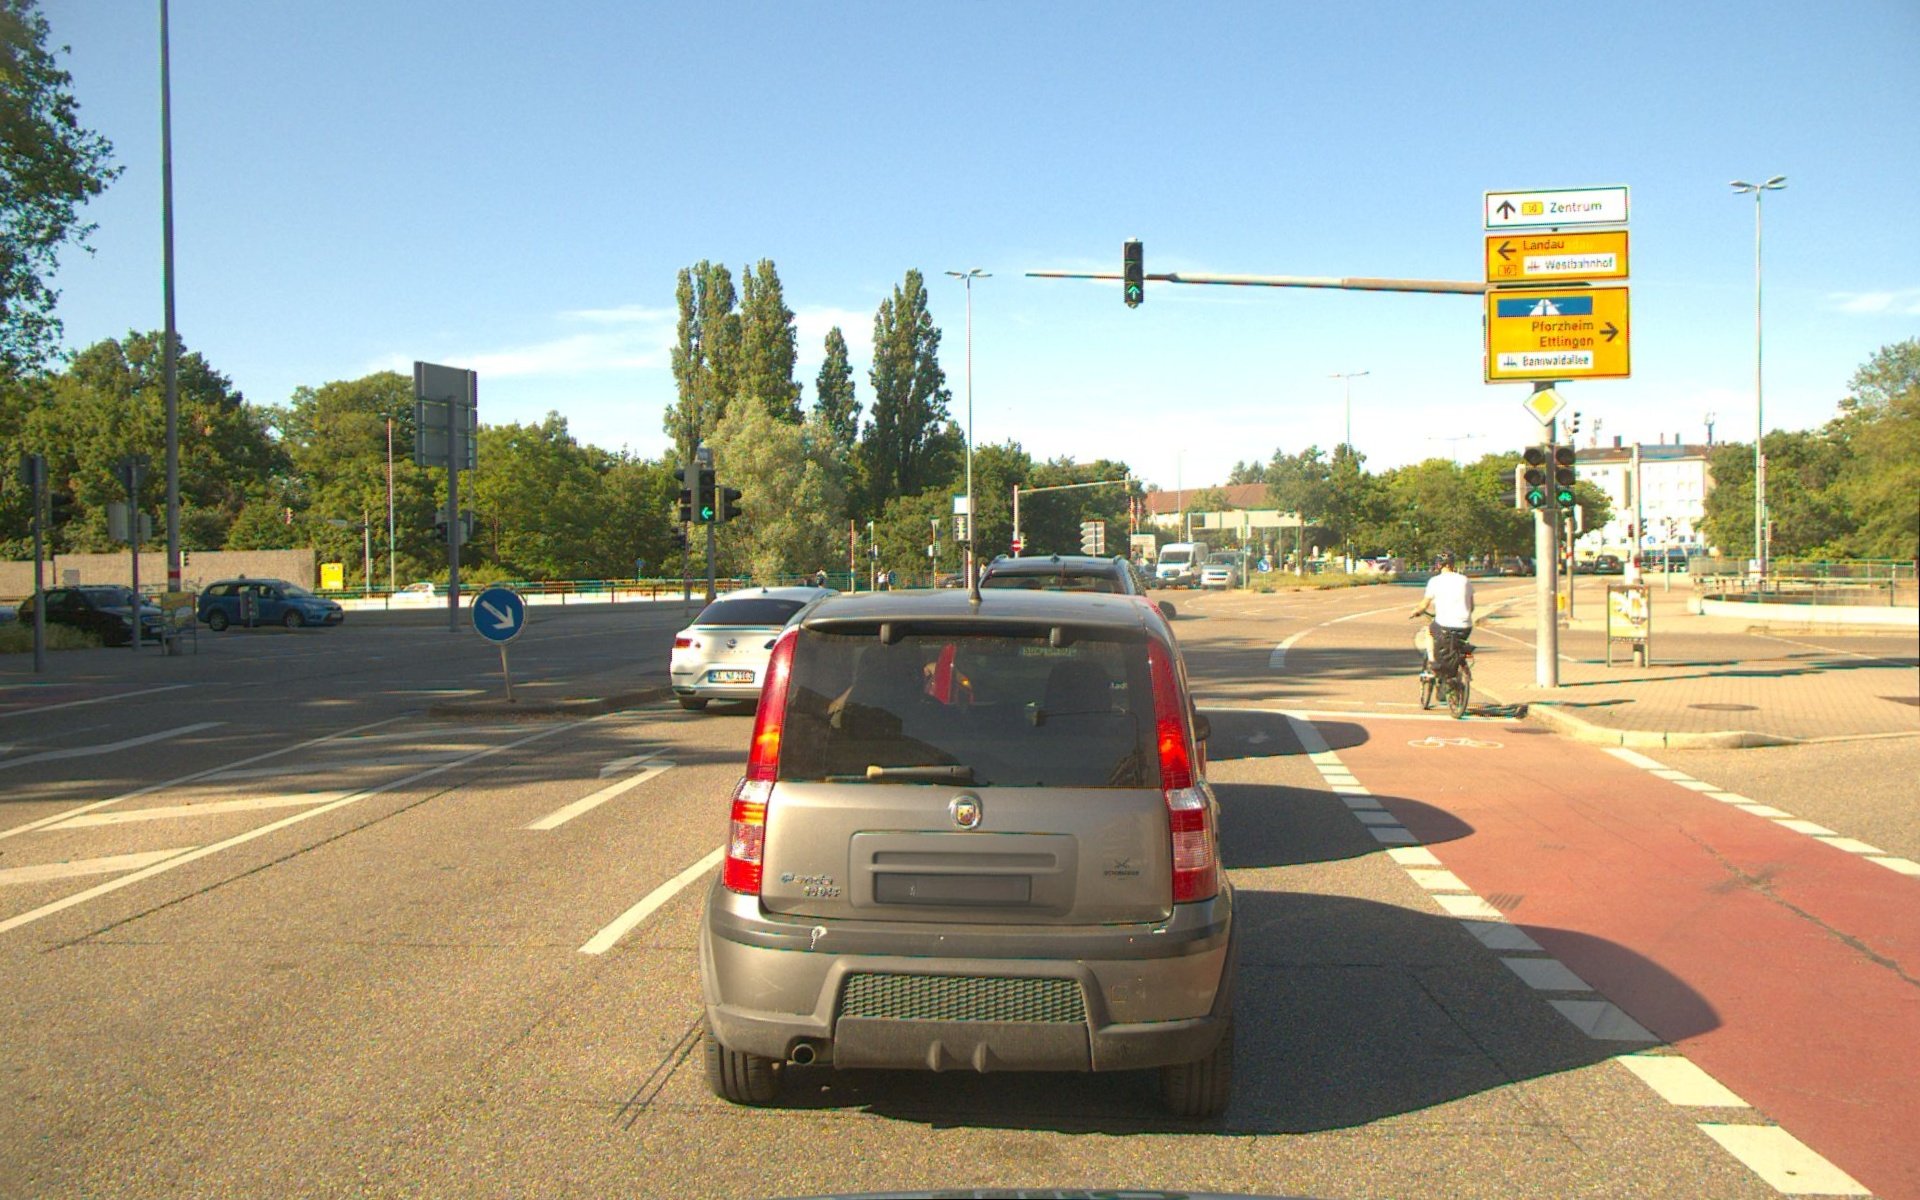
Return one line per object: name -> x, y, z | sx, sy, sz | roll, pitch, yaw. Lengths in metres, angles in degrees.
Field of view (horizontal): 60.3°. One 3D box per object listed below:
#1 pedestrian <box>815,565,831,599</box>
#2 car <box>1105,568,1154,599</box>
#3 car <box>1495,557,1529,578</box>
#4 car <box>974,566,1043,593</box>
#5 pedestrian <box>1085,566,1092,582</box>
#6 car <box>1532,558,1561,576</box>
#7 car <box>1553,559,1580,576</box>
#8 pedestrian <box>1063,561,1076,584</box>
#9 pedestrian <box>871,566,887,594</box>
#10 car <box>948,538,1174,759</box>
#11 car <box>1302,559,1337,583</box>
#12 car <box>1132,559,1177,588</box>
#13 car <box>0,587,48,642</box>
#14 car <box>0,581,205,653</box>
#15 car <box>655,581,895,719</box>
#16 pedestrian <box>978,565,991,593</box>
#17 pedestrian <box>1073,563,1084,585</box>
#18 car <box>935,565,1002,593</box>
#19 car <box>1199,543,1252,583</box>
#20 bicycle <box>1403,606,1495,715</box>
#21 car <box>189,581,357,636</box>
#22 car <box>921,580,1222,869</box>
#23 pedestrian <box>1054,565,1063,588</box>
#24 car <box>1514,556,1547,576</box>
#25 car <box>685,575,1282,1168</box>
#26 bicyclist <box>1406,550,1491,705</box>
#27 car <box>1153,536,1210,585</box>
pedestrian -> -6.206, -0.823, 74.775 | 0.666, 1.488, 0.702 | -1, 1, -7
car -> 9.442, -0.926, 91.915 | 1.896, 1.534, 4.003 | -2, 1, 17
car -> 42.432, -2.505, 127.052 | 1.907, 1.555, 4.093 | 0, 1, 27
car -> 2.999, -1.289, 102.027 | 4.292, 1.562, 1.758 | -2, 3, -42
pedestrian -> 9.999, -2.016, 128.225 | 0.415, 1.156, 0.397 | 1, -1, 24
car -> 51.941, -2.901, 146.433 | 1.908, 1.555, 4.092 | 0, 1, 28
car -> 58.882, -3.181, 160.543 | 1.908, 1.555, 4.092 | 0, 1, 28
pedestrian -> 8.219, -2.038, 124.015 | 0.777, 1.693, 0.626 | 0, -1, 40
pedestrian -> -4.680, -1.147, 95.222 | 0.698, 1.574, 0.725 | -2, -1, -16
car -> 1.116, 0.372, 16.191 | 1.904, 1.872, 4.156 | -1, 1, 7
car -> 25.569, -2.053, 117.574 | 1.896, 1.650, 4.508 | 0, 1, 19
car -> 11.613, -1.595, 98.549 | 1.773, 1.568, 4.619 | -2, 1, 18
car -> -26.382, 0.382, 43.548 | 4.404, 1.381, 1.879 | 0, 1, 24
car -> -21.046, 0.398, 40.246 | 4.668, 1.649, 1.953 | 0, 1, 15
car -> -2.110, 0.518, 20.188 | 1.742, 1.439, 4.323 | 0, 1, 10
pedestrian -> 1.400, -1.173, 93.119 | 0.547, 1.574, 0.573 | -2, 0, -16
pedestrian -> 9.200, -2.027, 128.399 | 0.706, 1.670, 0.672 | 1, -1, 24
car -> 0.526, -1.323, 104.423 | 3.961, 1.654, 1.874 | 1, -1, -39
car -> 13.982, -1.967, 87.006 | 1.896, 2.043, 4.933 | 0, 1, 19
bicycle -> 5.520, 0.655, 18.762 | 0.676, 1.121, 1.828 | 0, 1, 6
car -> -20.749, 0.245, 50.014 | 4.348, 1.567, 1.953 | -1, 1, 13
car -> 0.739, 0.647, 10.686 | 1.583, 1.488, 3.753 | -1, 1, 4
pedestrian -> 7.412, -1.769, 124.361 | 0.488, 1.731, 0.500 | 1, -1, 24
car -> 45.948, -2.726, 133.132 | 1.908, 1.555, 4.093 | 0, 1, 27
car -> 0.204, 0.700, 6.332 | 1.583, 1.542, 3.822 | -1, 1, 4
bicyclist -> 5.516, 0.286, 18.724 | 0.709, 1.688, 1.114 | 0, 1, 6
car -> 12.210, -2.184, 90.968 | 1.896, 2.621, 6.091 | 0, 1, 19
